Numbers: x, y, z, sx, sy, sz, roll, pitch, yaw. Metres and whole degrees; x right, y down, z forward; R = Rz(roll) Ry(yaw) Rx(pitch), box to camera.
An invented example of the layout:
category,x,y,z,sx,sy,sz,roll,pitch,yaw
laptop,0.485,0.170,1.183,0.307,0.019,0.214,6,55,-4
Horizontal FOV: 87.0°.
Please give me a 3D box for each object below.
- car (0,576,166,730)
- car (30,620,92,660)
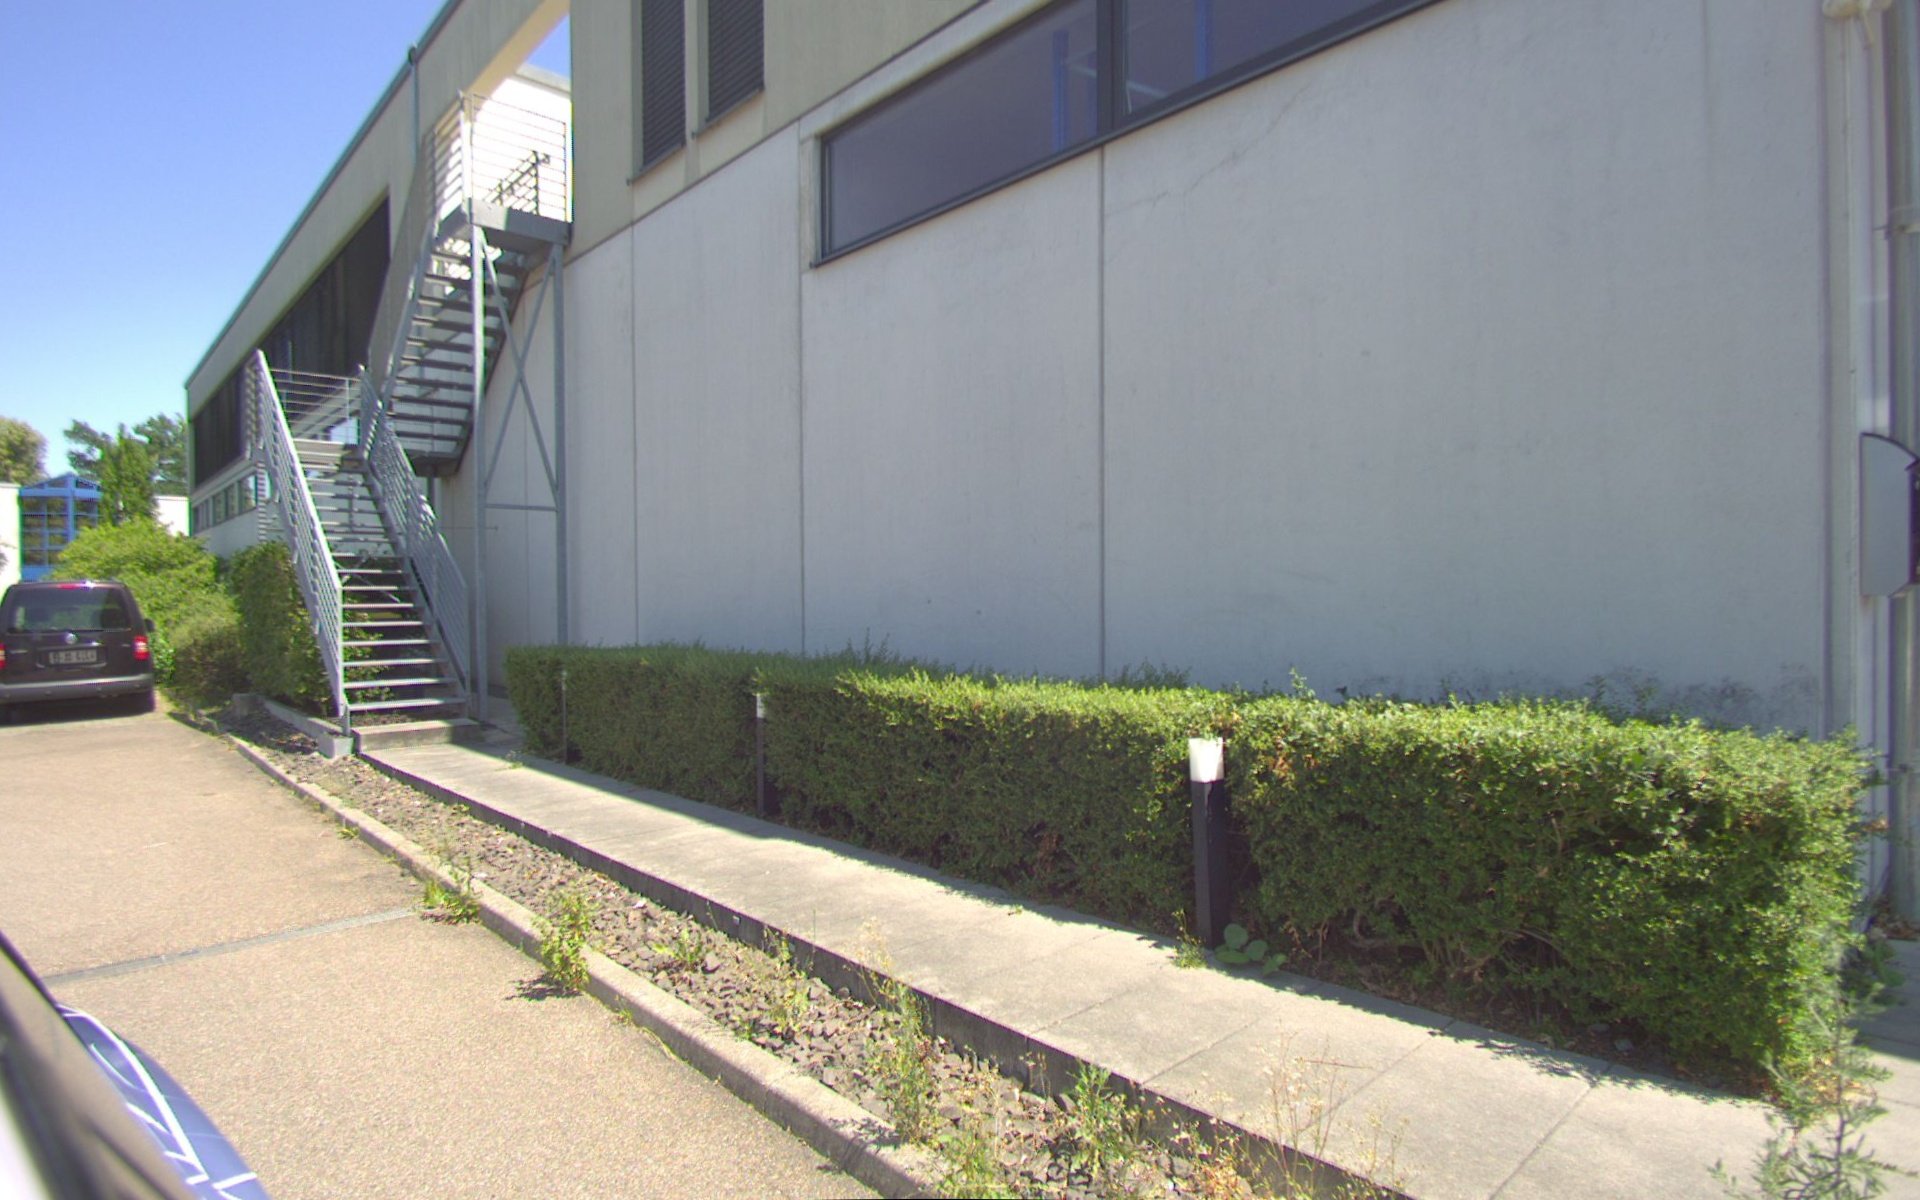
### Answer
category,x,y,z,sx,sy,sz,roll,pitch,yaw
car,-12.822,0.663,14.503,1.841,1.874,4.233,-3,1,-43
car,-41.260,1.796,46.414,4.001,1.579,1.811,1,2,44
